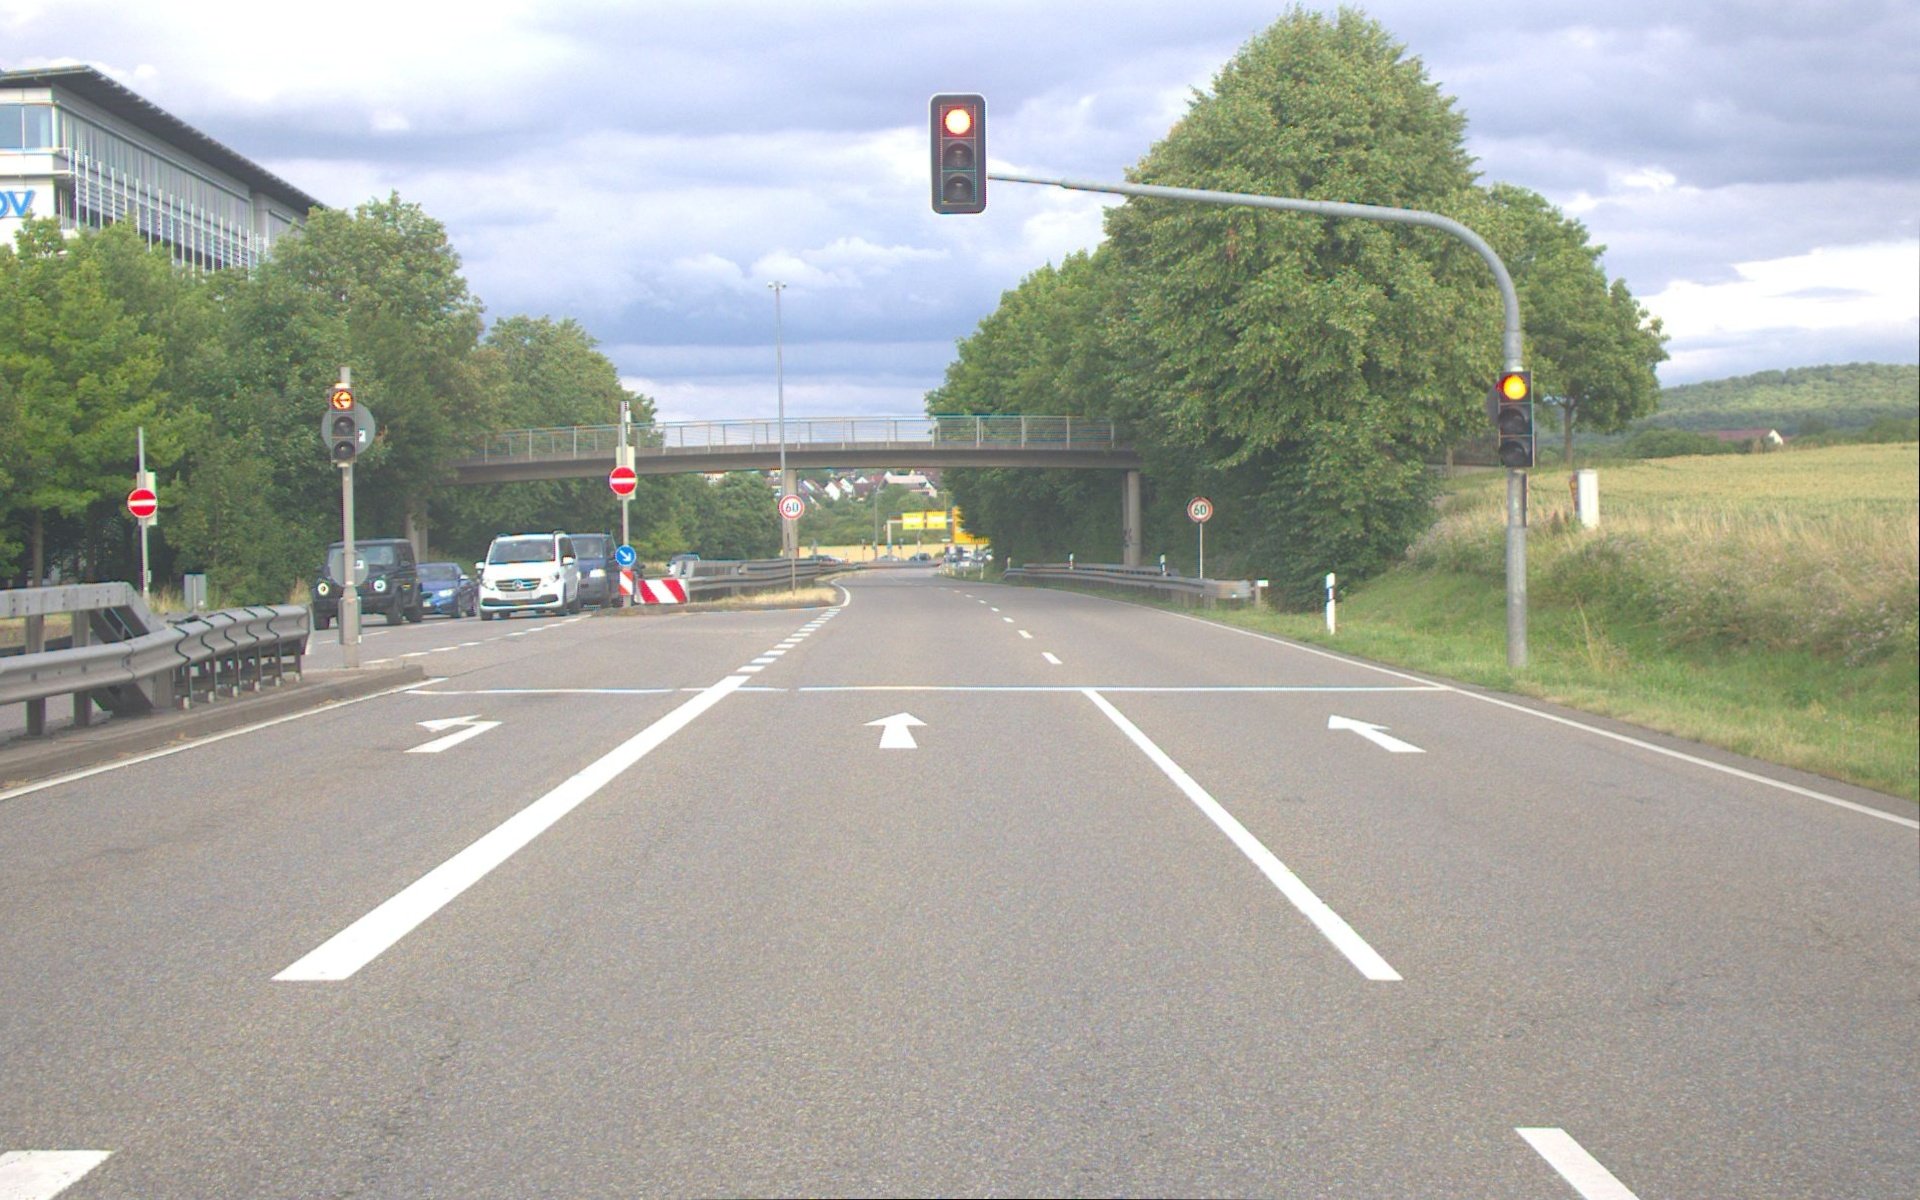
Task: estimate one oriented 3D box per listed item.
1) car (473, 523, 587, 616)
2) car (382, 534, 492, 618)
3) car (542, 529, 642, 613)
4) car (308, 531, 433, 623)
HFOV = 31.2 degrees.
[{"bbox_3d":[-9.791,-0.702,78.650,2.083,2.007,5.217,1,1,-2],"label":"car"},{"bbox_3d":[-13.047,-0.611,86.046,2.083,2.007,5.217,1,1,-2],"label":"car"},{"bbox_3d":[-9.203,-0.728,86.387,2.083,2.007,5.217,1,1,-2],"label":"car"},{"bbox_3d":[-13.424,-0.541,78.545,2.083,2.007,5.217,1,1,-2],"label":"car"}]
